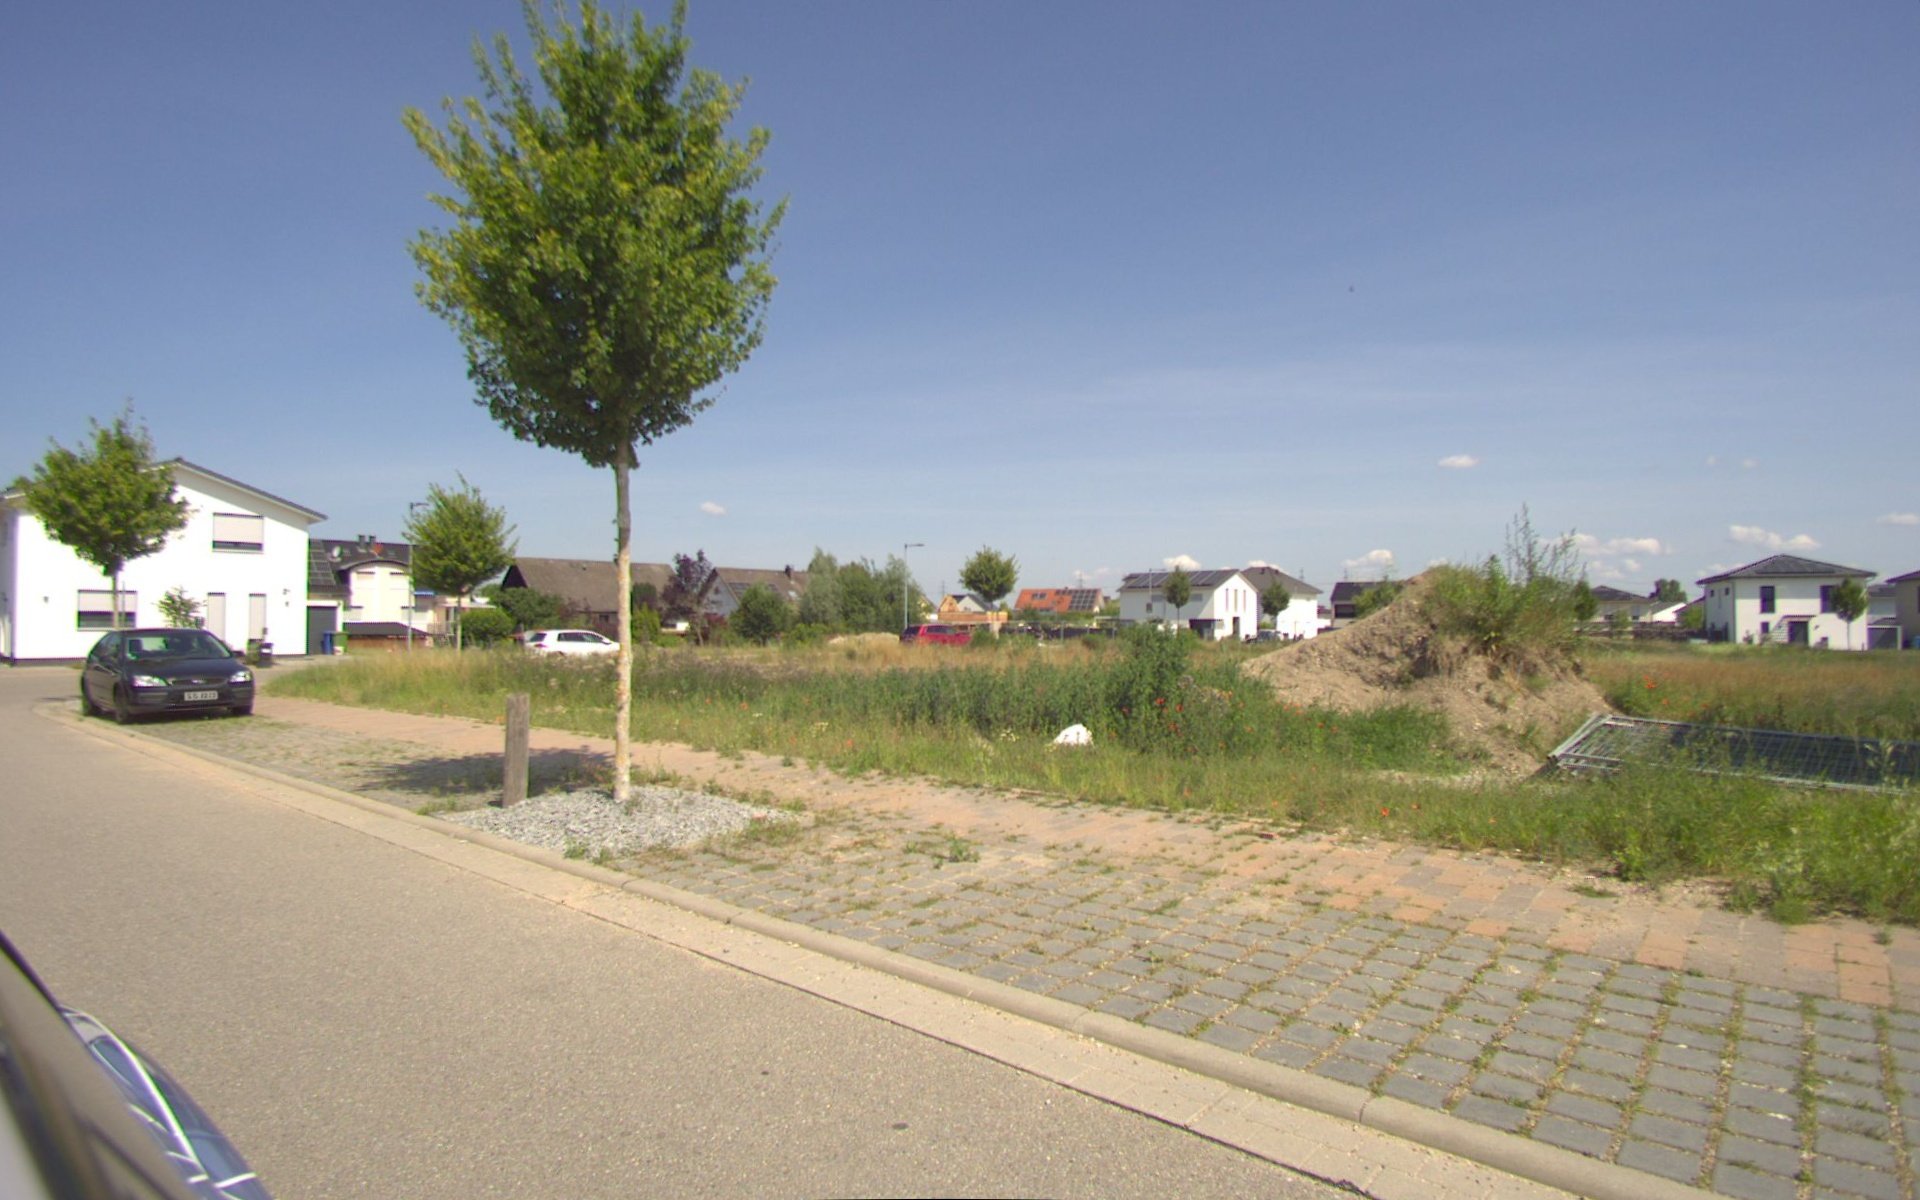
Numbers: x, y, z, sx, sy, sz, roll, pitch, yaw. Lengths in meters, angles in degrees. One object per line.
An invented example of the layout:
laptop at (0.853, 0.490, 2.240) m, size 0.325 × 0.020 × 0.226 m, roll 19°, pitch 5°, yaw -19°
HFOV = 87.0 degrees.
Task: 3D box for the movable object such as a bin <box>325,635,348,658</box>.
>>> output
movable object such as a bin at (-28.125, 2.080, 45.663) m, size 0.741 × 1.012 × 0.676 m, roll -2°, pitch -3°, yaw 43°

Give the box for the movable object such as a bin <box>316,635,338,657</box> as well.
movable object such as a bin at (-28.830, 2.089, 46.104) m, size 0.741 × 1.012 × 0.676 m, roll -2°, pitch -3°, yaw 43°

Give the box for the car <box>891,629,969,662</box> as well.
car at (-1.511, 2.293, 51.924) m, size 1.809 × 1.628 × 3.944 m, roll -2°, pitch -3°, yaw 42°

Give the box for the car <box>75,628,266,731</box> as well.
car at (-13.262, 1.233, 16.916) m, size 4.142 × 1.465 × 1.793 m, roll -2°, pitch -1°, yaw 41°

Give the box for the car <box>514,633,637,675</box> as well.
car at (-14.433, 1.989, 38.080) m, size 3.940 × 1.514 × 1.811 m, roll 2°, pitch -3°, yaw -44°
